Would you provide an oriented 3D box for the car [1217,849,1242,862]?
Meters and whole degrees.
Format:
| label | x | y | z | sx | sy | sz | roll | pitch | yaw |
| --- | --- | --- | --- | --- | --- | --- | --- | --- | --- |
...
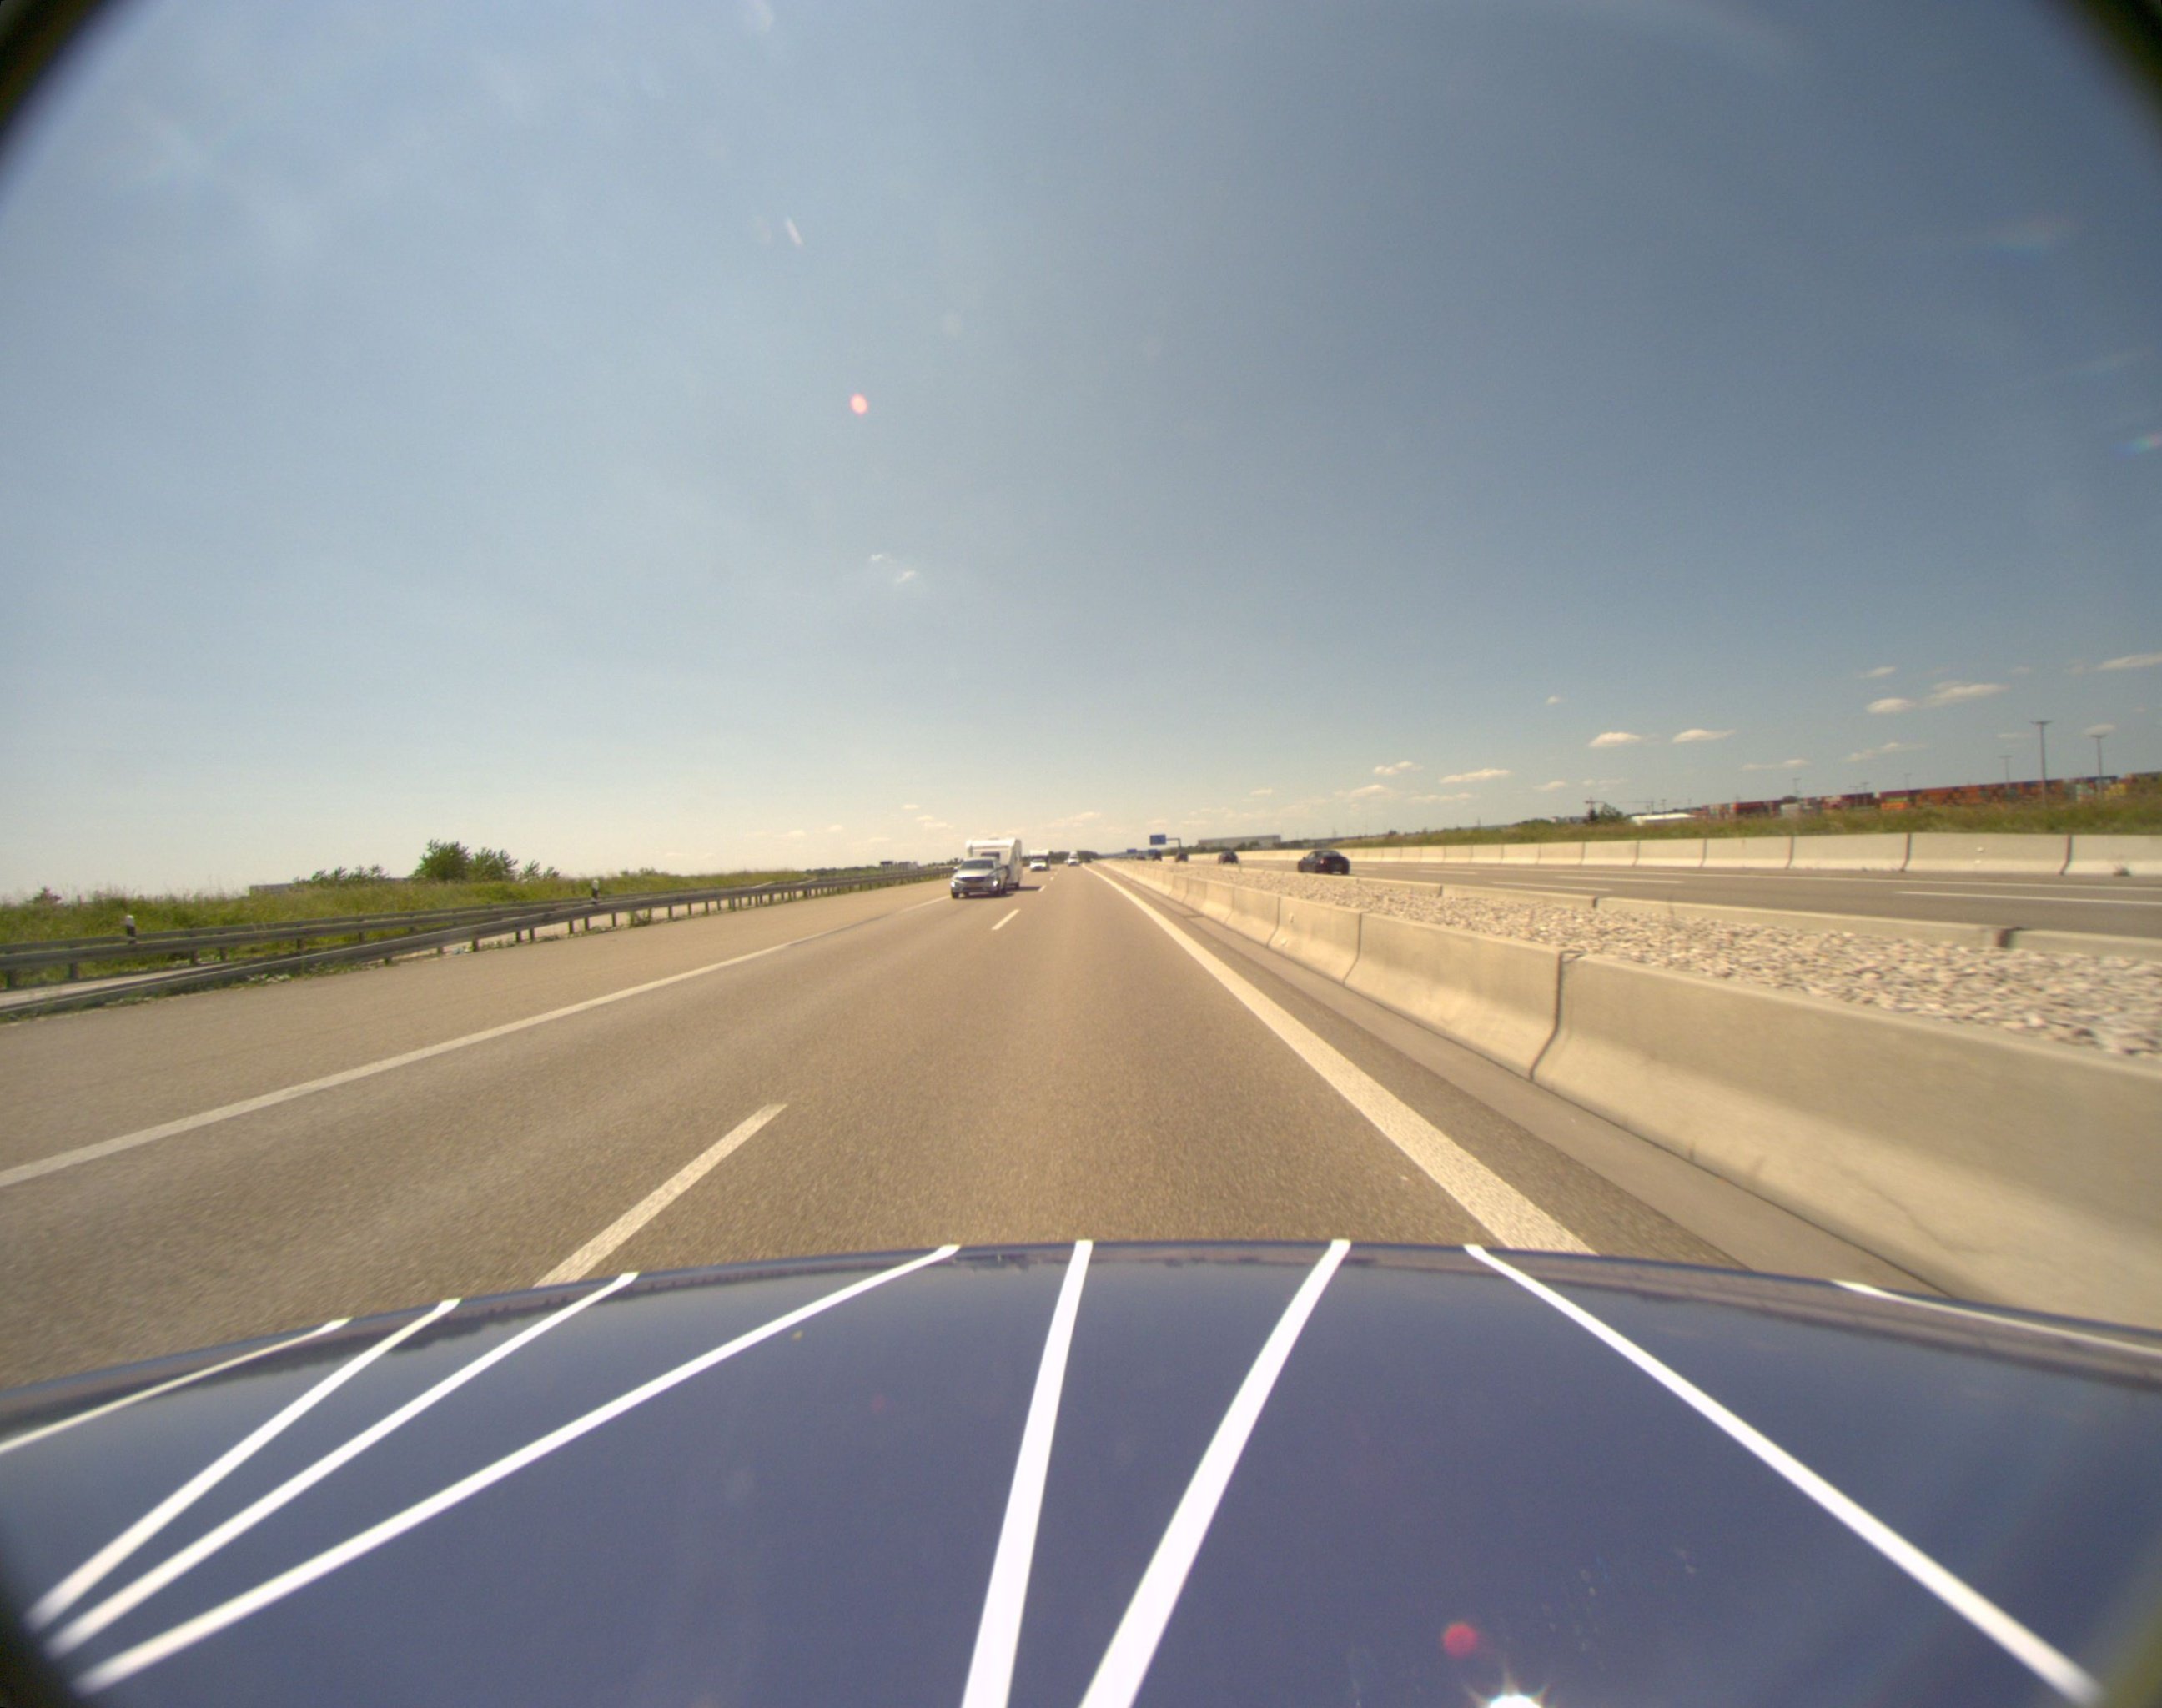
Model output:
| label | x | y | z | sx | sy | sz | roll | pitch | yaw |
| --- | --- | --- | --- | --- | --- | --- | --- | --- | --- |
| car | 16.722 | 0.147 | 85.721 | 1.998 | 1.371 | 4.364 | -2 | 0 | 2 |

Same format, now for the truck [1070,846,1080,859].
| label | x | y | z | sx | sy | sz | roll | pitch | yaw |
| --- | --- | --- | --- | --- | --- | --- | --- | --- | --- |
| truck | -1.317 | -0.338 | 174.957 | 2.168 | 2.797 | 6.490 | -2 | 0 | 0 |

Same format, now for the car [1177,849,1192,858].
| label | x | y | z | sx | sy | sz | roll | pitch | yaw |
| --- | --- | --- | --- | --- | --- | --- | --- | --- | --- |
| car | 17.541 | -0.128 | 128.932 | 1.873 | 1.483 | 5.138 | -2 | 0 | 1 |

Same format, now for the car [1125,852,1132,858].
| label | x | y | z | sx | sy | sz | roll | pitch | yaw |
| --- | --- | --- | --- | --- | --- | --- | --- | --- | --- |
| car | 14.461 | 0.268 | 233.163 | 1.998 | 1.659 | 4.649 | -2 | 0 | 1 |

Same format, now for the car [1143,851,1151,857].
| label | x | y | z | sx | sy | sz | roll | pitch | yaw |
| --- | --- | --- | --- | --- | --- | --- | --- | --- | --- |
| car | 19.433 | 0.022 | 223.045 | 1.915 | 1.450 | 4.284 | -2 | 0 | -1 |

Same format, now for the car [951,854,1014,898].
| label | x | y | z | sx | sy | sz | roll | pitch | yaw |
| --- | --- | --- | --- | --- | --- | --- | --- | --- | --- |
| car | -4.010 | 0.883 | 31.767 | 1.885 | 1.613 | 4.904 | -2 | 0 | 1 |

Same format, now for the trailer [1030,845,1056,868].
| label | x | y | z | sx | sy | sz | roll | pitch | yaw |
| --- | --- | --- | --- | --- | --- | --- | --- | --- | --- |
| trailer | -4.663 | 0.349 | 94.012 | 2.500 | 2.686 | 7.156 | -2 | -1 | 2 |

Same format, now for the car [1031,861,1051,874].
| label | x | y | z | sx | sy | sz | roll | pitch | yaw |
| --- | --- | --- | --- | --- | --- | --- | --- | --- | --- |
| car | -4.633 | 1.572 | 88.606 | 1.872 | 1.351 | 3.673 | -1 | -1 | 2 |

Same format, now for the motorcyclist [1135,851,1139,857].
| label | x | y | z | sx | sy | sz | roll | pitch | yaw |
| --- | --- | --- | --- | --- | --- | --- | --- | --- | --- |
| motorcyclist | 14.333 | 0.034 | 195.789 | 0.920 | 1.488 | 0.923 | -2 | 0 | 1 |

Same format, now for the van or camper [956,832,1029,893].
| label | x | y | z | sx | sy | sz | roll | pitch | yaw |
| --- | --- | --- | --- | --- | --- | --- | --- | --- | --- |
| van or camper | -4.150 | 0.410 | 37.257 | 2.518 | 2.577 | 7.818 | -2 | -1 | 1 |

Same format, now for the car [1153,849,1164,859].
| label | x | y | z | sx | sy | sz | roll | pitch | yaw |
| --- | --- | --- | --- | --- | --- | --- | --- | --- | --- |
| car | 17.008 | -0.045 | 166.397 | 1.889 | 2.006 | 4.735 | -2 | 0 | 1 |

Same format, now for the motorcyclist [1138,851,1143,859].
| label | x | y | z | sx | sy | sz | roll | pitch | yaw |
| --- | --- | --- | --- | --- | --- | --- | --- | --- | --- |
| motorcyclist | 13.078 | 0.177 | 167.669 | 0.922 | 1.612 | 1.088 | -2 | 1 | 0 |

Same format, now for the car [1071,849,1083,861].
| label | x | y | z | sx | sy | sz | roll | pitch | yaw |
| --- | --- | --- | --- | --- | --- | --- | --- | --- | --- |
| car | -0.648 | 0.215 | 132.439 | 1.998 | 2.002 | 4.000 | -2 | 0 | 0 |

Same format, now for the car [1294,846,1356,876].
| label | x | y | z | sx | sy | sz | roll | pitch | yaw |
| --- | --- | --- | --- | --- | --- | --- | --- | --- | --- |
| car | 12.804 | 0.332 | 40.171 | 1.848 | 1.374 | 4.752 | -3 | 0 | 2 |

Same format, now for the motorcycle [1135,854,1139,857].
| label | x | y | z | sx | sy | sz | roll | pitch | yaw |
| --- | --- | --- | --- | --- | --- | --- | --- | --- | --- |
| motorcycle | 14.354 | 0.399 | 195.495 | 0.777 | 0.897 | 2.705 | -2 | 0 | 1 |

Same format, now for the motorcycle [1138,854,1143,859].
| label | x | y | z | sx | sy | sz | roll | pitch | yaw |
| --- | --- | --- | --- | --- | --- | --- | --- | --- | --- |
| motorcycle | 13.103 | 0.504 | 167.686 | 0.960 | 1.162 | 2.722 | -2 | 0 | 0 |
